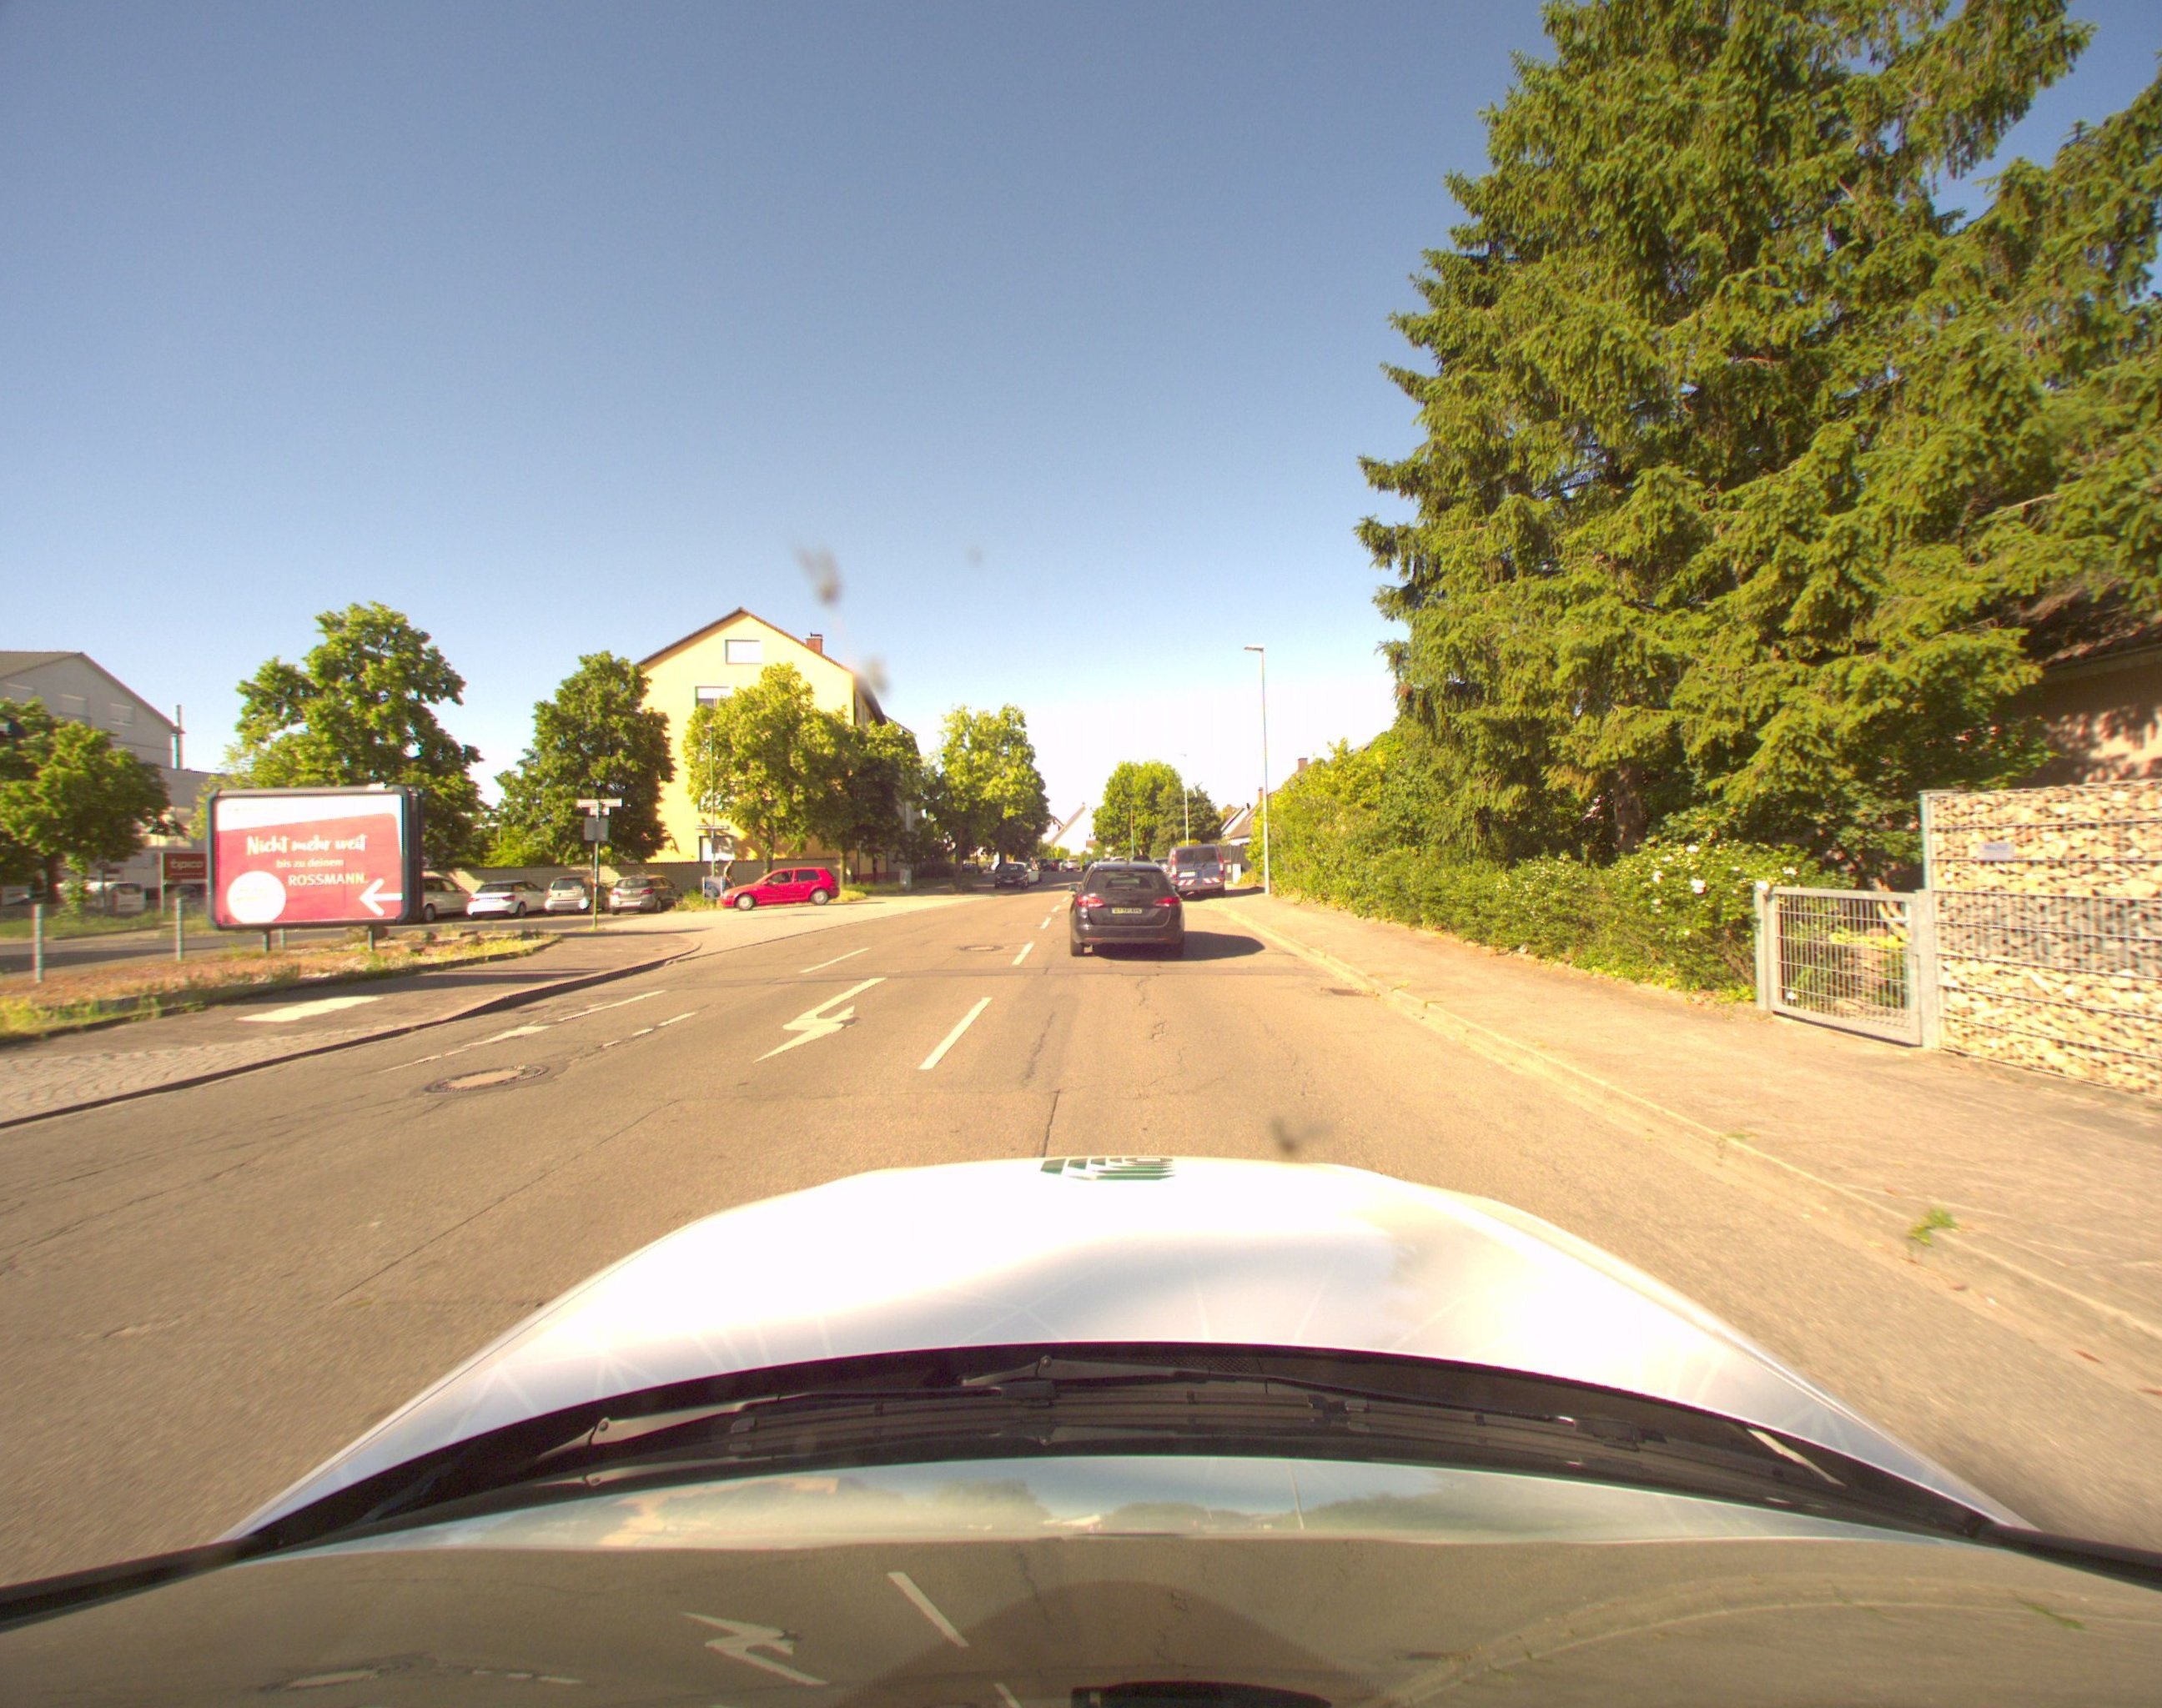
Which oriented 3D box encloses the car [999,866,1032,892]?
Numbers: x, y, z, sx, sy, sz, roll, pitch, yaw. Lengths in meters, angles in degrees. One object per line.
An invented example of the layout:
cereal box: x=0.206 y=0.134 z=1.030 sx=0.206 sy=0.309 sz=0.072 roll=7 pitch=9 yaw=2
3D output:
car: x=-4.173 y=1.597 z=52.217 sx=1.695 sy=1.523 sz=4.051 roll=-3 pitch=-2 yaw=0

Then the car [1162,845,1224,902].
car: x=4.043 y=0.692 z=30.074 sx=1.829 sy=1.908 sz=4.701 roll=-1 pitch=-1 yaw=3

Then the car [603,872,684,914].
car: x=-17.315 y=1.500 z=32.417 sx=1.729 sy=1.464 sz=3.867 roll=-1 pitch=0 yaw=-11

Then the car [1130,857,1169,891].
car: x=3.368 y=0.952 z=40.790 sx=1.758 sy=1.480 sz=4.995 roll=-3 pitch=0 yaw=3

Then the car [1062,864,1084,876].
car: x=-1.053 y=2.026 z=102.577 sx=1.823 sy=1.534 sz=4.237 roll=-2 pitch=-1 yaw=-15

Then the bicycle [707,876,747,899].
bicycle: x=-15.960 y=1.498 z=36.735 sx=1.627 sy=1.011 sz=0.402 roll=-1 pitch=-1 yaw=-30

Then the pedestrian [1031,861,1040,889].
pedestrian: x=-2.943 y=1.380 z=52.810 sx=0.503 sy=1.761 sz=0.694 roll=-2 pitch=-3 yaw=-2

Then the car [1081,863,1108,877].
car: x=1.527 y=1.851 z=93.585 sx=2.008 sy=1.475 sz=4.273 roll=-2 pitch=-1 yaw=-14

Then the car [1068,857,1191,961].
car: x=0.772 y=0.836 z=13.852 sx=1.755 sy=1.491 sz=4.292 roll=0 pitch=-1 yaw=2

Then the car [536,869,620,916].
car: x=-20.291 y=1.517 z=33.019 sx=1.700 sy=1.621 sz=3.864 roll=-1 pitch=1 yaw=-13

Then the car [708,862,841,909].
car: x=-11.174 y=1.090 z=29.722 sx=4.399 sy=1.568 sz=2.002 roll=0 pitch=0 yaw=-25

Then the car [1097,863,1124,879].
car: x=3.117 y=1.848 z=88.138 sx=1.913 sy=1.600 sz=4.276 roll=-2 pitch=-1 yaw=-12

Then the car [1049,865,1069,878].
car: x=-2.947 y=2.329 z=107.829 sx=1.823 sy=1.534 sz=4.237 roll=-2 pitch=-1 yaw=-15

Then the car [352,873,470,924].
car: x=-25.216 y=1.630 z=30.821 sx=1.697 sy=1.679 sz=3.868 roll=-1 pitch=0 yaw=-9

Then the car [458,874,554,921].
car: x=-22.406 y=1.644 z=31.888 sx=1.700 sy=1.464 sz=3.864 roll=-1 pitch=2 yaw=-13

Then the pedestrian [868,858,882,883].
pedestrian: x=-14.285 y=1.156 z=56.504 sx=0.683 sy=1.718 sz=0.720 roll=-2 pitch=-3 yaw=1

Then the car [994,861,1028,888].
car: x=-3.963 y=1.204 z=46.661 sx=1.696 sy=1.480 sz=4.049 roll=1 pitch=-2 yaw=-1

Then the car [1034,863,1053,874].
car: x=-5.203 y=2.028 z=113.246 sx=1.823 sy=1.534 sz=4.237 roll=-2 pitch=-1 yaw=-15

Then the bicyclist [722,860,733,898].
bicyclist: x=-15.954 y=1.132 z=36.746 sx=0.391 sy=1.686 sz=0.378 roll=0 pitch=-3 yaw=-30

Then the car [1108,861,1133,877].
car: x=4.005 y=1.533 z=83.477 sx=1.759 sy=1.480 sz=4.281 roll=-2 pitch=-1 yaw=-8

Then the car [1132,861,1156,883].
car: x=5.216 y=1.503 z=67.737 sx=1.771 sy=1.724 sz=4.296 roll=-2 pitch=-1 yaw=2
